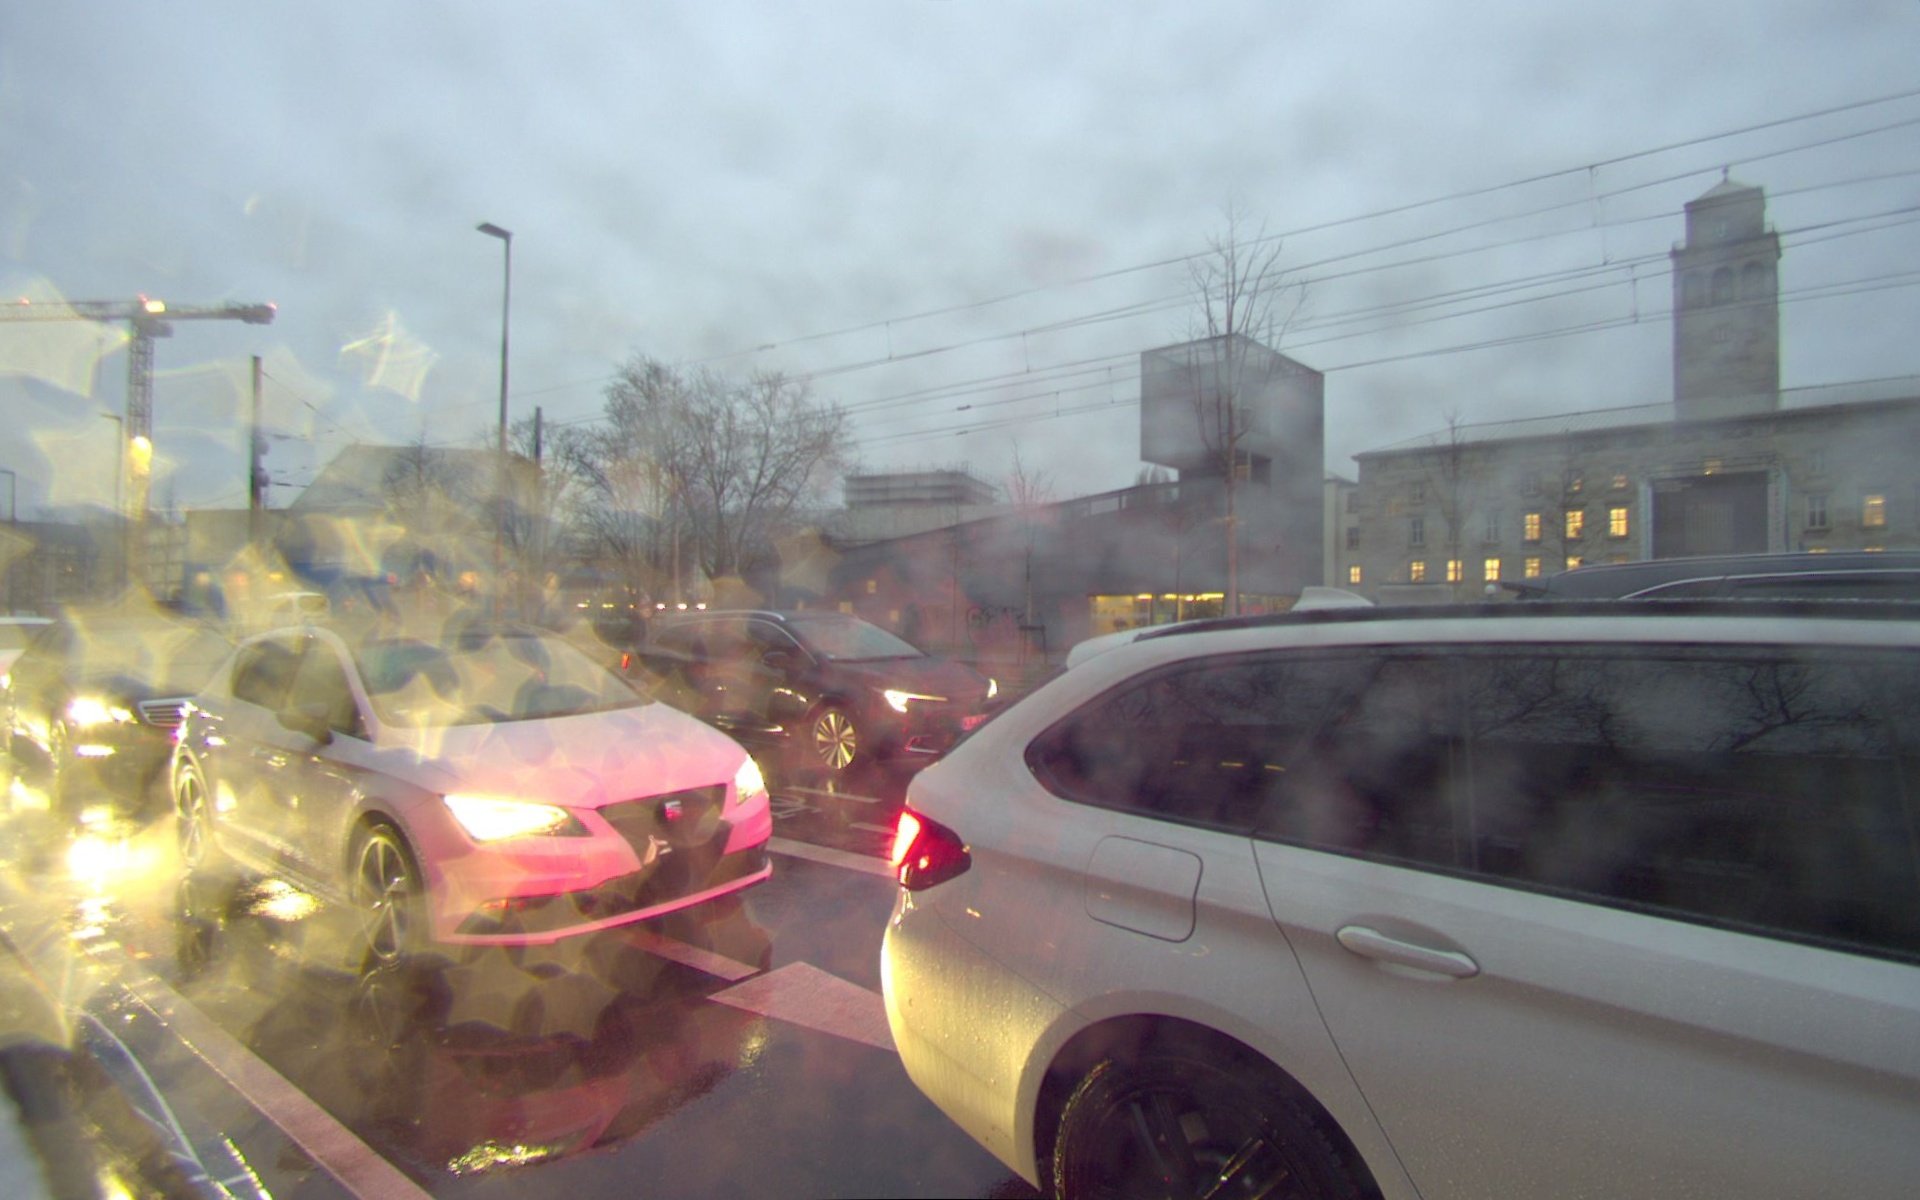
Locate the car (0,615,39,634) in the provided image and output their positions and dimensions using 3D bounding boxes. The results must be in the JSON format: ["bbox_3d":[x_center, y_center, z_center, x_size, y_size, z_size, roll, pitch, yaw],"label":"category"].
[{"bbox_3d":[-98.802,2.580,106.298,3.989,1.910,2.072,-1,-2,34],"label":"car"}]

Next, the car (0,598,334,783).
[{"bbox_3d":[-8.381,0.784,10.396,4.501,1.498,1.974,-1,-2,39],"label":"car"}]

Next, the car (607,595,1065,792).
[{"bbox_3d":[-1.402,0.748,10.043,4.659,1.519,1.830,0,-1,39],"label":"car"}]

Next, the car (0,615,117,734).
[{"bbox_3d":[-14.272,1.036,15.202,3.998,1.586,1.882,-1,0,41],"label":"car"}]

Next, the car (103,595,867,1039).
[{"bbox_3d":[-2.832,0.768,5.577,4.497,1.498,1.926,-1,0,37],"label":"car"}]

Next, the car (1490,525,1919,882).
[{"bbox_3d":[5.228,0.471,4.996,4.289,1.596,1.946,-1,-1,42],"label":"car"}]

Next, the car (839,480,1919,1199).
[{"bbox_3d":[2.088,0.623,1.649,4.557,1.498,1.996,-1,-2,41],"label":"car"}]
